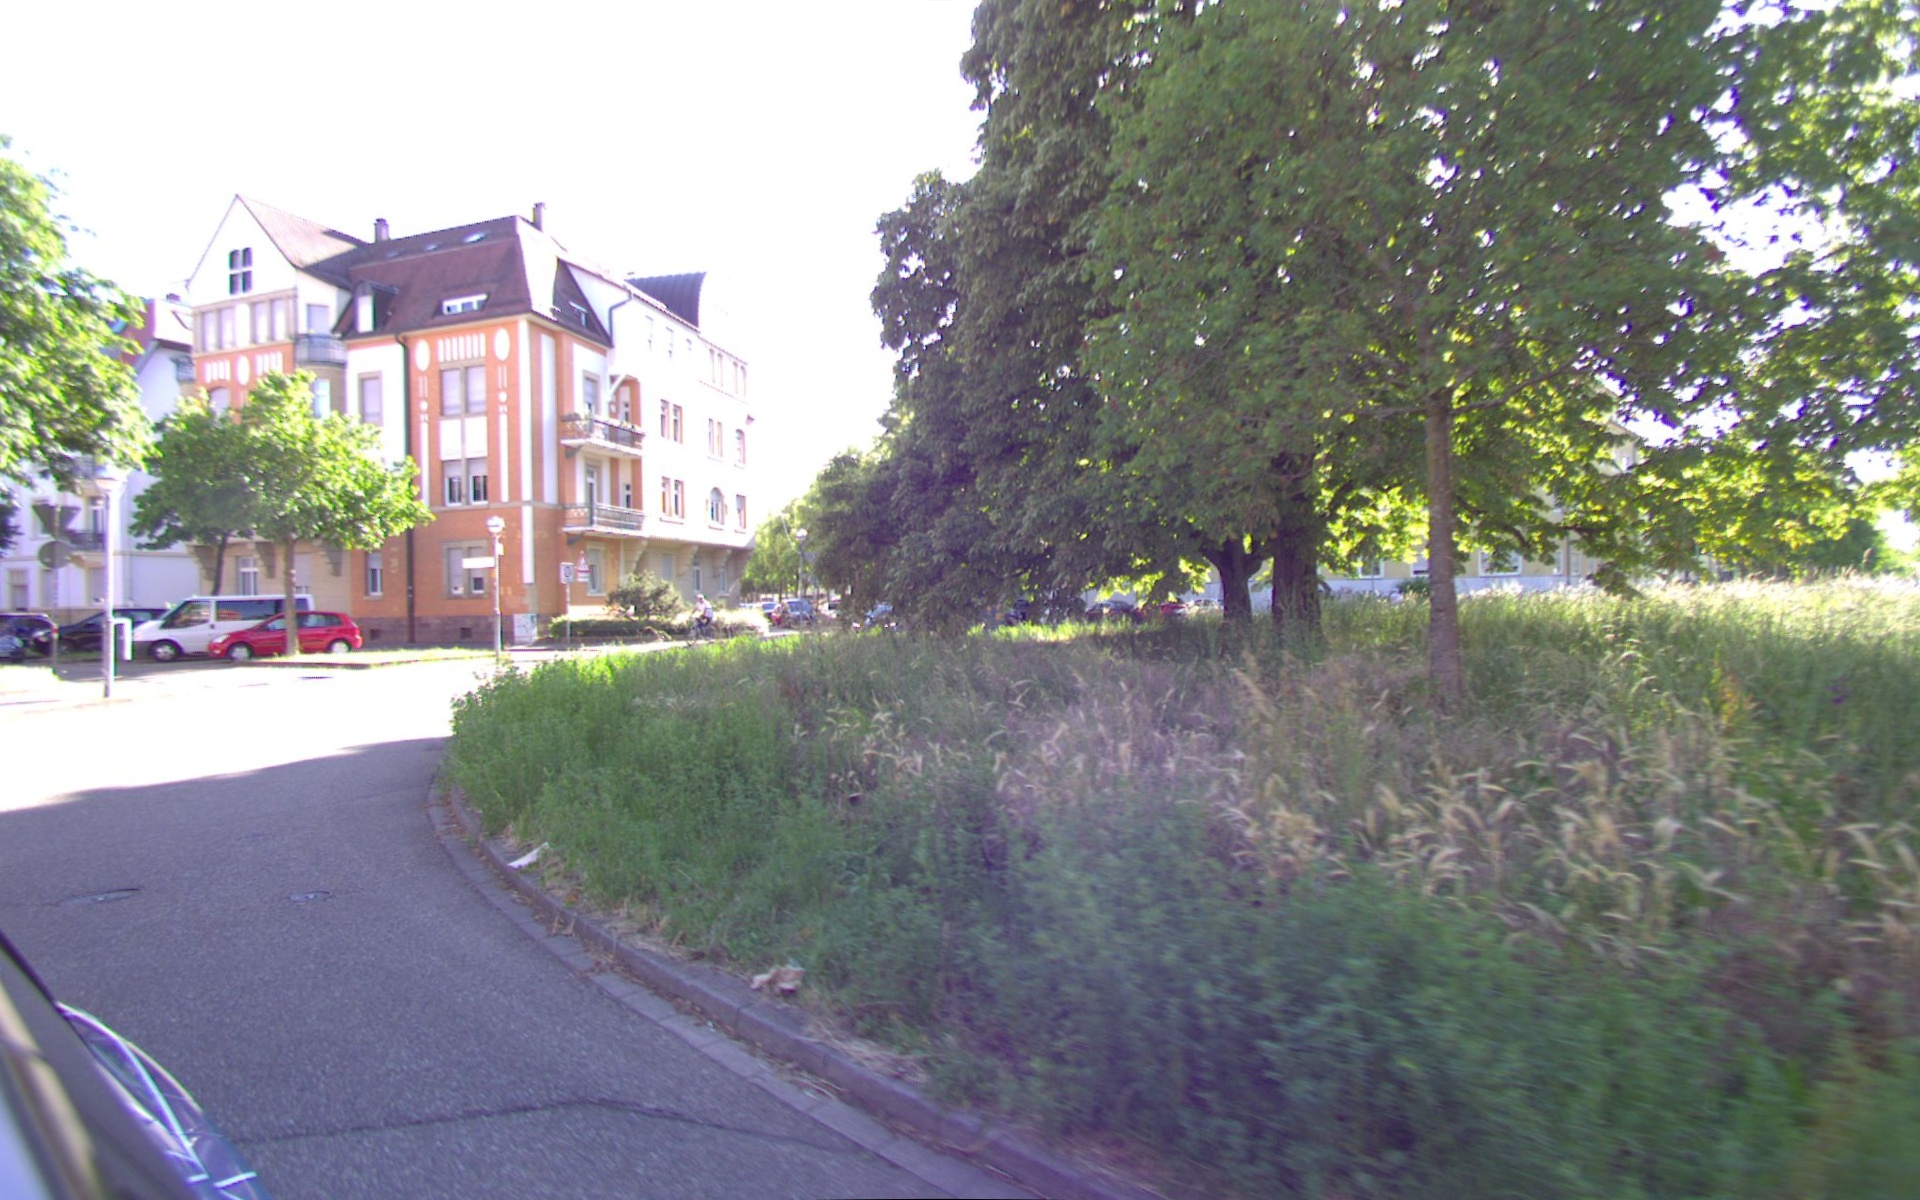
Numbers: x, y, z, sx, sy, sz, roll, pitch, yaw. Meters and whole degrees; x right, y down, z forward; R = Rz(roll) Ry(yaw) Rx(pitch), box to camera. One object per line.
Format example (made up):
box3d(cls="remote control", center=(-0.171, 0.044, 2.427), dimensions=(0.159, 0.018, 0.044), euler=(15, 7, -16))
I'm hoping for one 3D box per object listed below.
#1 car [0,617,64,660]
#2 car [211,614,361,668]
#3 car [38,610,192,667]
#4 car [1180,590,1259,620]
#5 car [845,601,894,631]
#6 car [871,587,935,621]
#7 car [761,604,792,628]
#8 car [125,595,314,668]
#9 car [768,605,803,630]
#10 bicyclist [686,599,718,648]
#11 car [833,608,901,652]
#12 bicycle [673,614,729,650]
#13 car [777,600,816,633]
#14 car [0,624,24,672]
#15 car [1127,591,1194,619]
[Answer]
box3d(cls="car", center=(-38.531, 1.551, 41.058), dimensions=(3.930, 1.670, 1.748), euler=(-1, 0, 23))
box3d(cls="car", center=(-20.203, 1.194, 30.395), dimensions=(3.636, 1.446, 1.672), euler=(-1, 0, -38))
box3d(cls="car", center=(-28.350, 1.253, 34.139), dimensions=(3.891, 1.751, 1.765), euler=(-1, 0, -38))
box3d(cls="car", center=(12.895, 0.250, 50.535), dimensions=(1.703, 1.422, 4.503), euler=(-1, 0, -17))
box3d(cls="car", center=(-4.695, 0.812, 52.085), dimensions=(1.768, 1.446, 4.220), euler=(-2, 0, -15))
box3d(cls="car", center=(-4.406, 0.338, 78.506), dimensions=(4.555, 2.509, 1.975), euler=(-1, 0, 17))
box3d(cls="car", center=(-13.289, 1.117, 73.001), dimensions=(1.768, 1.567, 4.220), euler=(-4, 0, -15))
box3d(cls="car", center=(-22.967, 0.922, 31.623), dimensions=(4.627, 2.061, 1.999), euler=(-1, 0, -35))
box3d(cls="car", center=(-11.351, 1.158, 65.801), dimensions=(1.768, 1.464, 4.220), euler=(-4, 0, -15))
box3d(cls="bicyclist", center=(-9.217, 0.822, 36.208), dimensions=(0.764, 1.709, 0.801), euler=(-1, 0, 40))
box3d(cls="car", center=(-3.535, 1.084, 37.822), dimensions=(1.768, 1.446, 4.220), euler=(-2, 0, -15))
box3d(cls="bicycle", center=(-9.240, 1.114, 36.198), dimensions=(0.764, 1.207, 1.845), euler=(-1, 0, 40))
box3d(cls="car", center=(-9.687, 0.954, 59.713), dimensions=(1.768, 1.780, 4.220), euler=(-3, 0, -15))
box3d(cls="car", center=(-30.793, 1.497, 31.142), dimensions=(3.590, 1.433, 1.602), euler=(-1, 0, 23))
box3d(cls="car", center=(11.018, 0.301, 55.971), dimensions=(1.706, 1.450, 4.401), euler=(-1, 0, -17))
